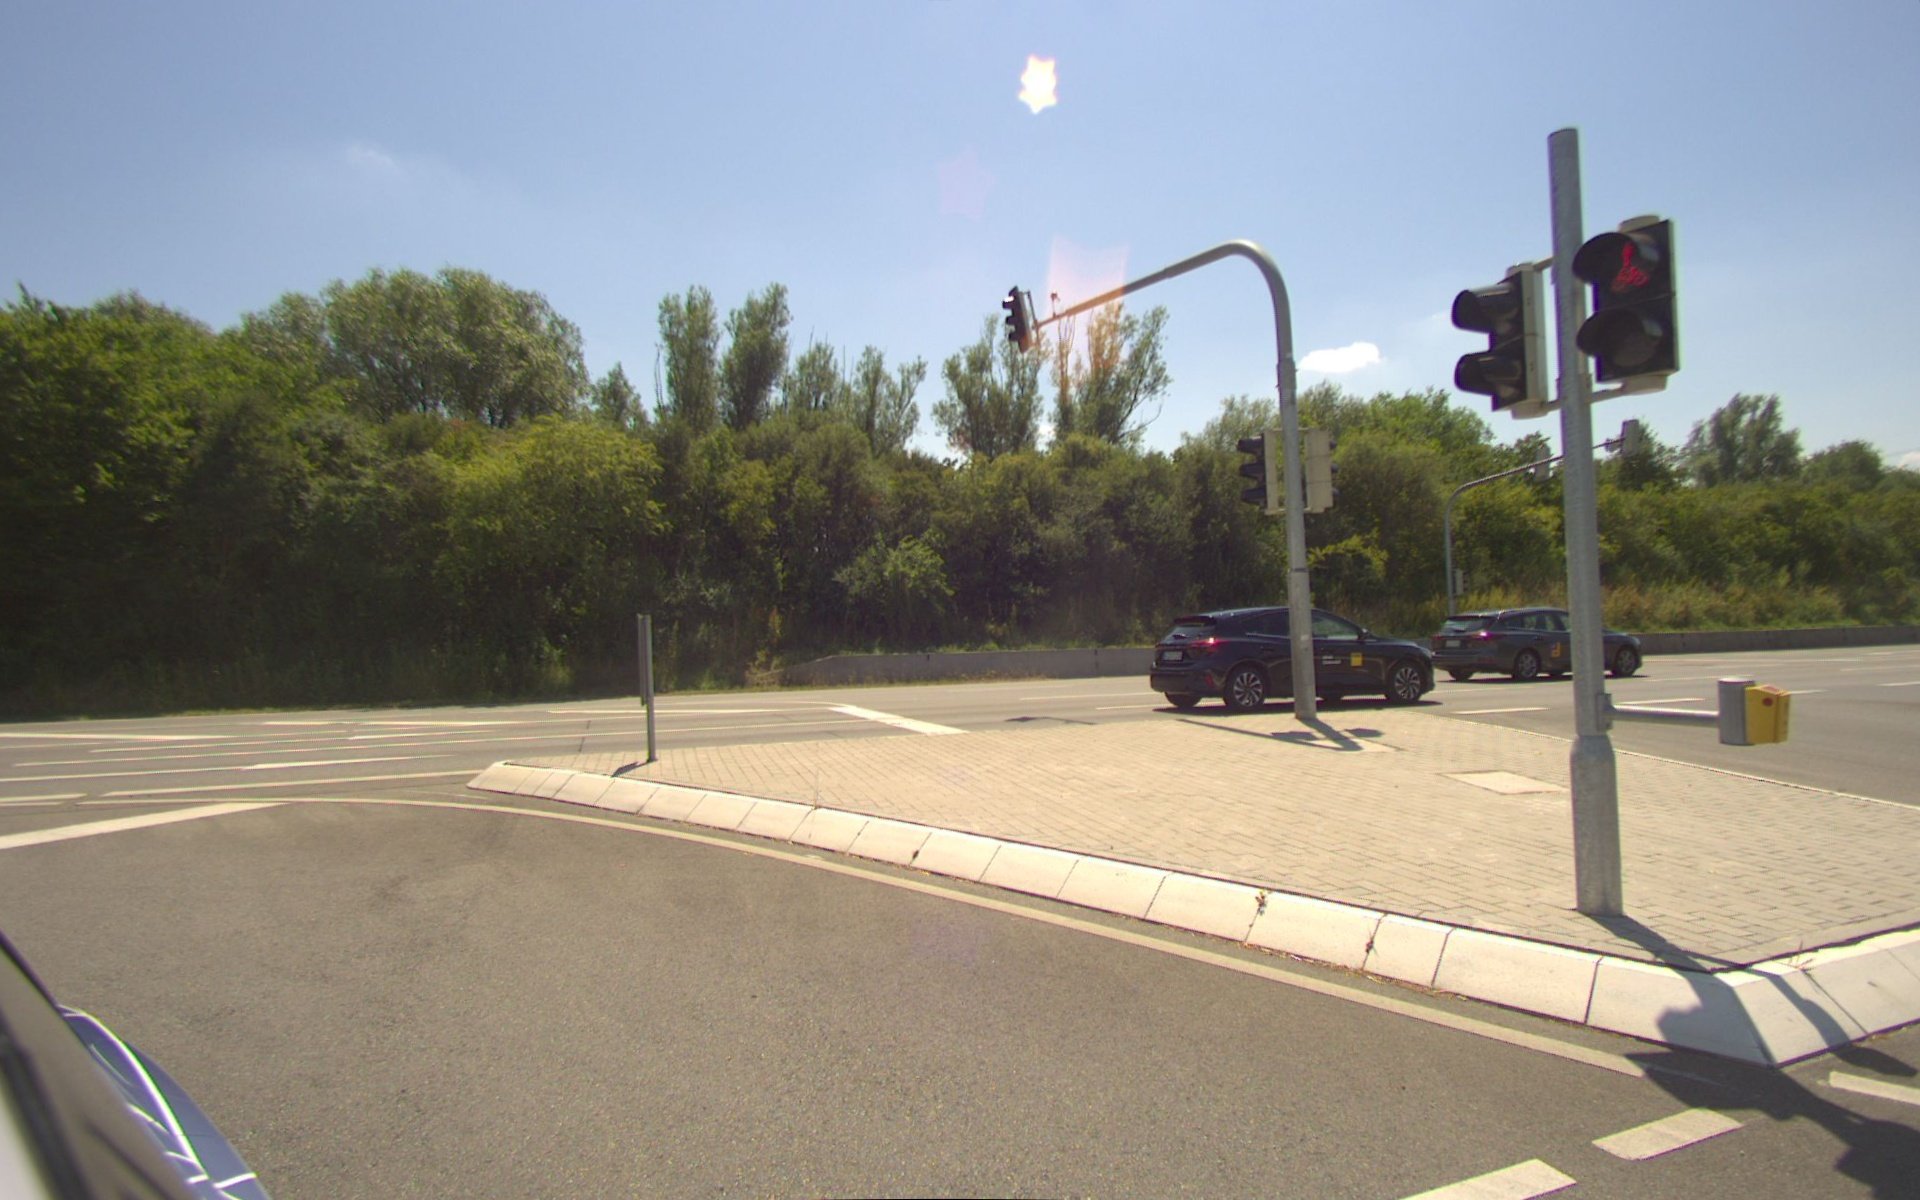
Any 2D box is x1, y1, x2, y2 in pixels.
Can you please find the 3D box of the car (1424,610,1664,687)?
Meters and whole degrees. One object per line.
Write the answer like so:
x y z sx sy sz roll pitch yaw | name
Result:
11.947 0.976 20.756 4.317 1.453 1.744 0 -3 -17 | car

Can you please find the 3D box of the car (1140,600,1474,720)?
4.946 0.818 14.580 4.226 1.453 1.744 -2 -2 -15 | car
